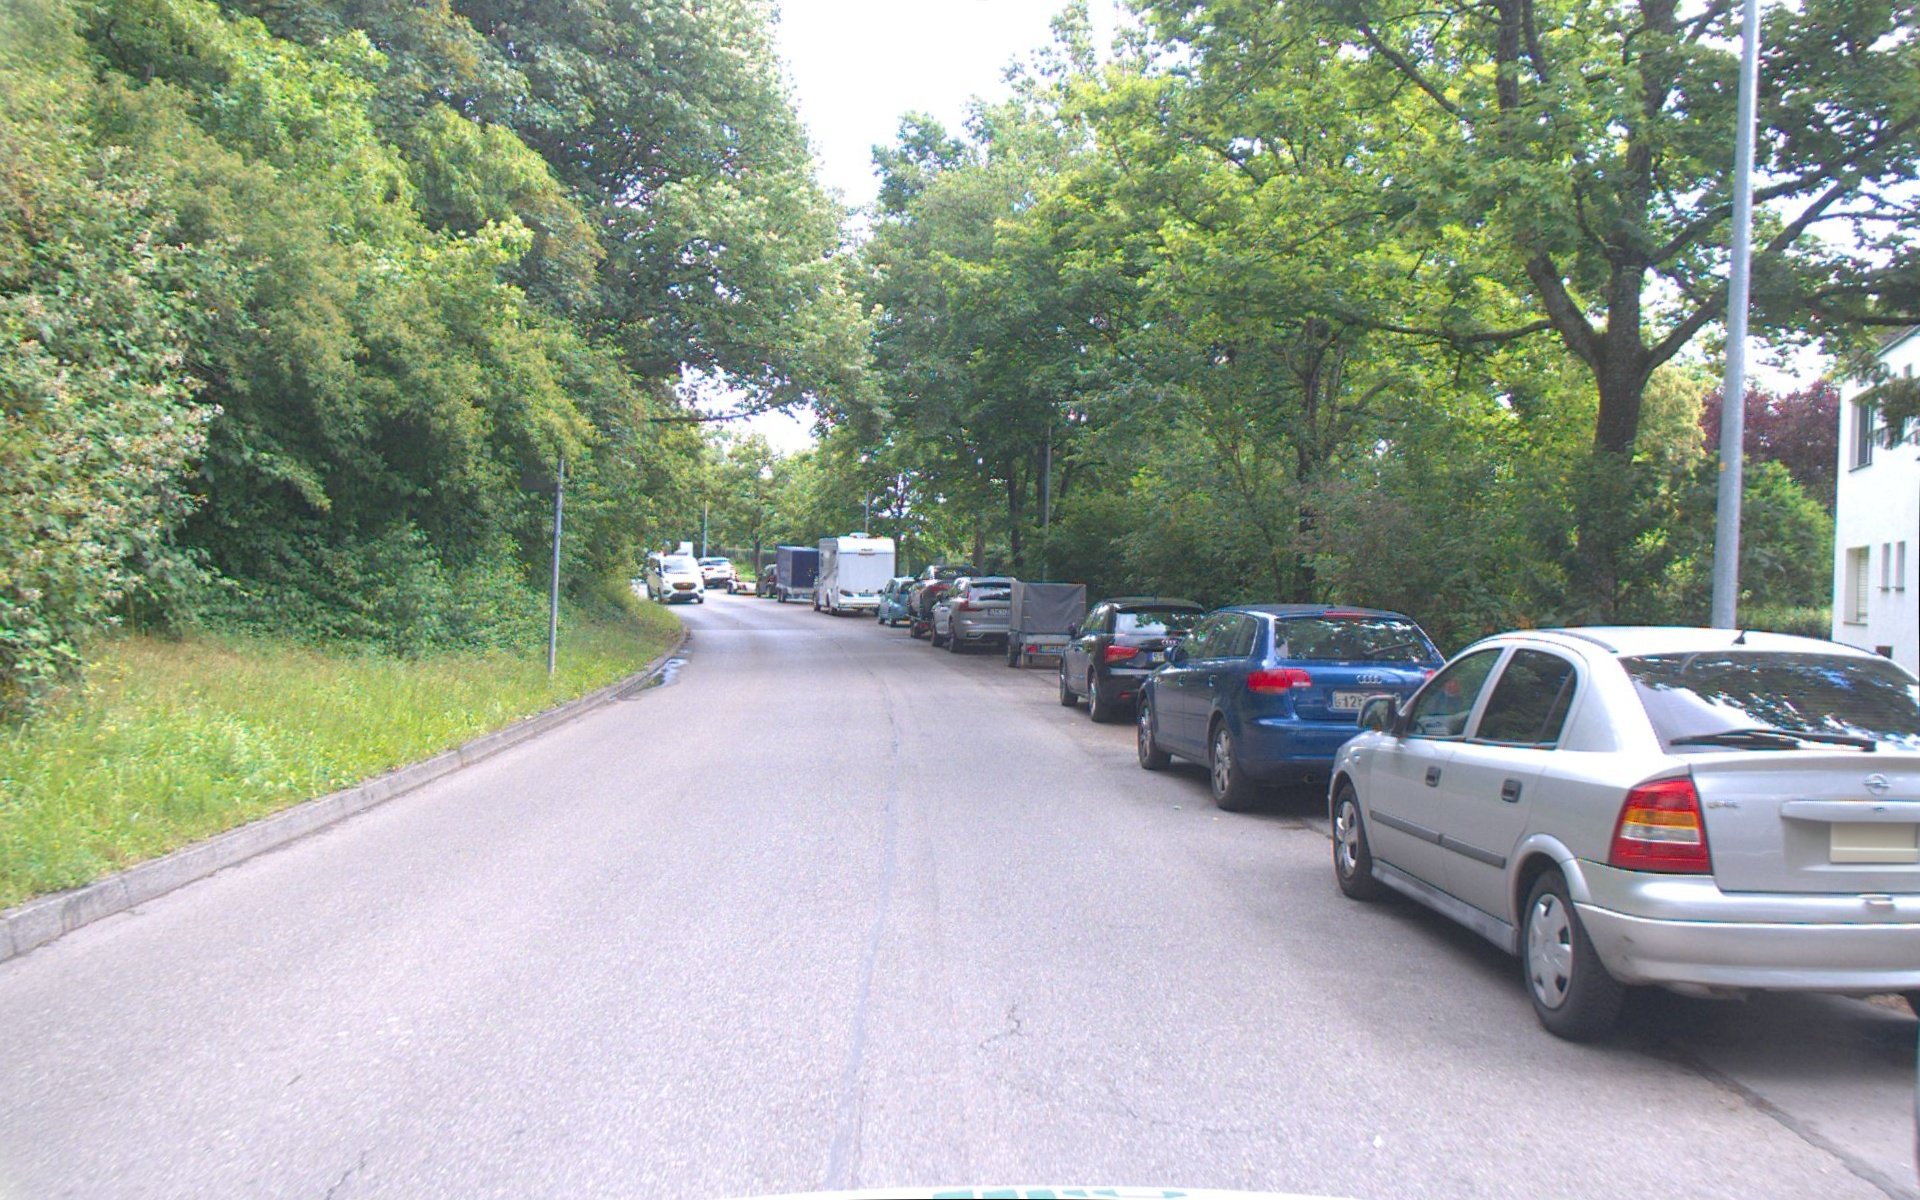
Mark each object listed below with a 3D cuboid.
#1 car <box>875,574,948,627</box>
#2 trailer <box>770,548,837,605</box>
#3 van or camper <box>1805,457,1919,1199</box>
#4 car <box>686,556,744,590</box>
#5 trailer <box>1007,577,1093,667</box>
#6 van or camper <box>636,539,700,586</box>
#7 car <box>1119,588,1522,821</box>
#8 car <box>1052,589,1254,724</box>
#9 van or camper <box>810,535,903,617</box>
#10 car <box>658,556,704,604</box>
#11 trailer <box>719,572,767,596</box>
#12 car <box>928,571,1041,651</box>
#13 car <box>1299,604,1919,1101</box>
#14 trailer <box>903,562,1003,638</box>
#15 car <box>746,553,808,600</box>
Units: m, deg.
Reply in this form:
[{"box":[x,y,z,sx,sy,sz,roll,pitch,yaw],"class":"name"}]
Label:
[{"box":[-1.589,-0.018,53.151,1.767,1.589,3.826,1,1,-11],"class":"car"},{"box":[-7.016,-1.065,73.731,1.965,2.440,3.976,1,1,-21],"class":"trailer"},{"box":[2.936,0.628,1.762,1.765,1.870,4.319,1,-1,-2],"class":"van or camper"},{"box":[-13.562,-1.515,91.381,2.010,1.835,4.049,0,2,-26],"class":"car"},{"box":[1.672,0.392,31.439,1.254,1.612,2.458,1,1,-5],"class":"trailer"},{"box":[-17.523,-2.281,99.077,2.498,2.744,4.533,-1,2,-28],"class":"van or camper"},{"box":[2.633,0.689,13.260,1.812,1.500,4.473,2,0,-6],"class":"car"},{"box":[2.293,0.631,20.647,1.687,1.478,3.913,2,0,-6],"class":"car"},{"box":[-4.032,-0.928,63.218,2.439,2.926,6.867,1,1,-13],"class":"van or camper"},{"box":[-12.314,-0.907,73.249,1.911,2.019,4.493,1,1,-9],"class":"car"},{"box":[-10.854,-0.804,82.511,1.626,1.105,3.980,-1,2,-18],"class":"trailer"},{"box":[0.489,0.262,37.778,1.759,1.699,4.491,1,-1,-10],"class":"car"},{"box":[2.915,0.818,7.317,1.776,1.462,4.241,2,1,-2],"class":"car"},{"box":[-0.248,-0.046,43.885,1.942,1.843,5.140,1,1,-8],"class":"trailer"},{"box":[-8.770,-1.149,78.920,1.965,2.060,3.975,-2,4,-21],"class":"car"}]
